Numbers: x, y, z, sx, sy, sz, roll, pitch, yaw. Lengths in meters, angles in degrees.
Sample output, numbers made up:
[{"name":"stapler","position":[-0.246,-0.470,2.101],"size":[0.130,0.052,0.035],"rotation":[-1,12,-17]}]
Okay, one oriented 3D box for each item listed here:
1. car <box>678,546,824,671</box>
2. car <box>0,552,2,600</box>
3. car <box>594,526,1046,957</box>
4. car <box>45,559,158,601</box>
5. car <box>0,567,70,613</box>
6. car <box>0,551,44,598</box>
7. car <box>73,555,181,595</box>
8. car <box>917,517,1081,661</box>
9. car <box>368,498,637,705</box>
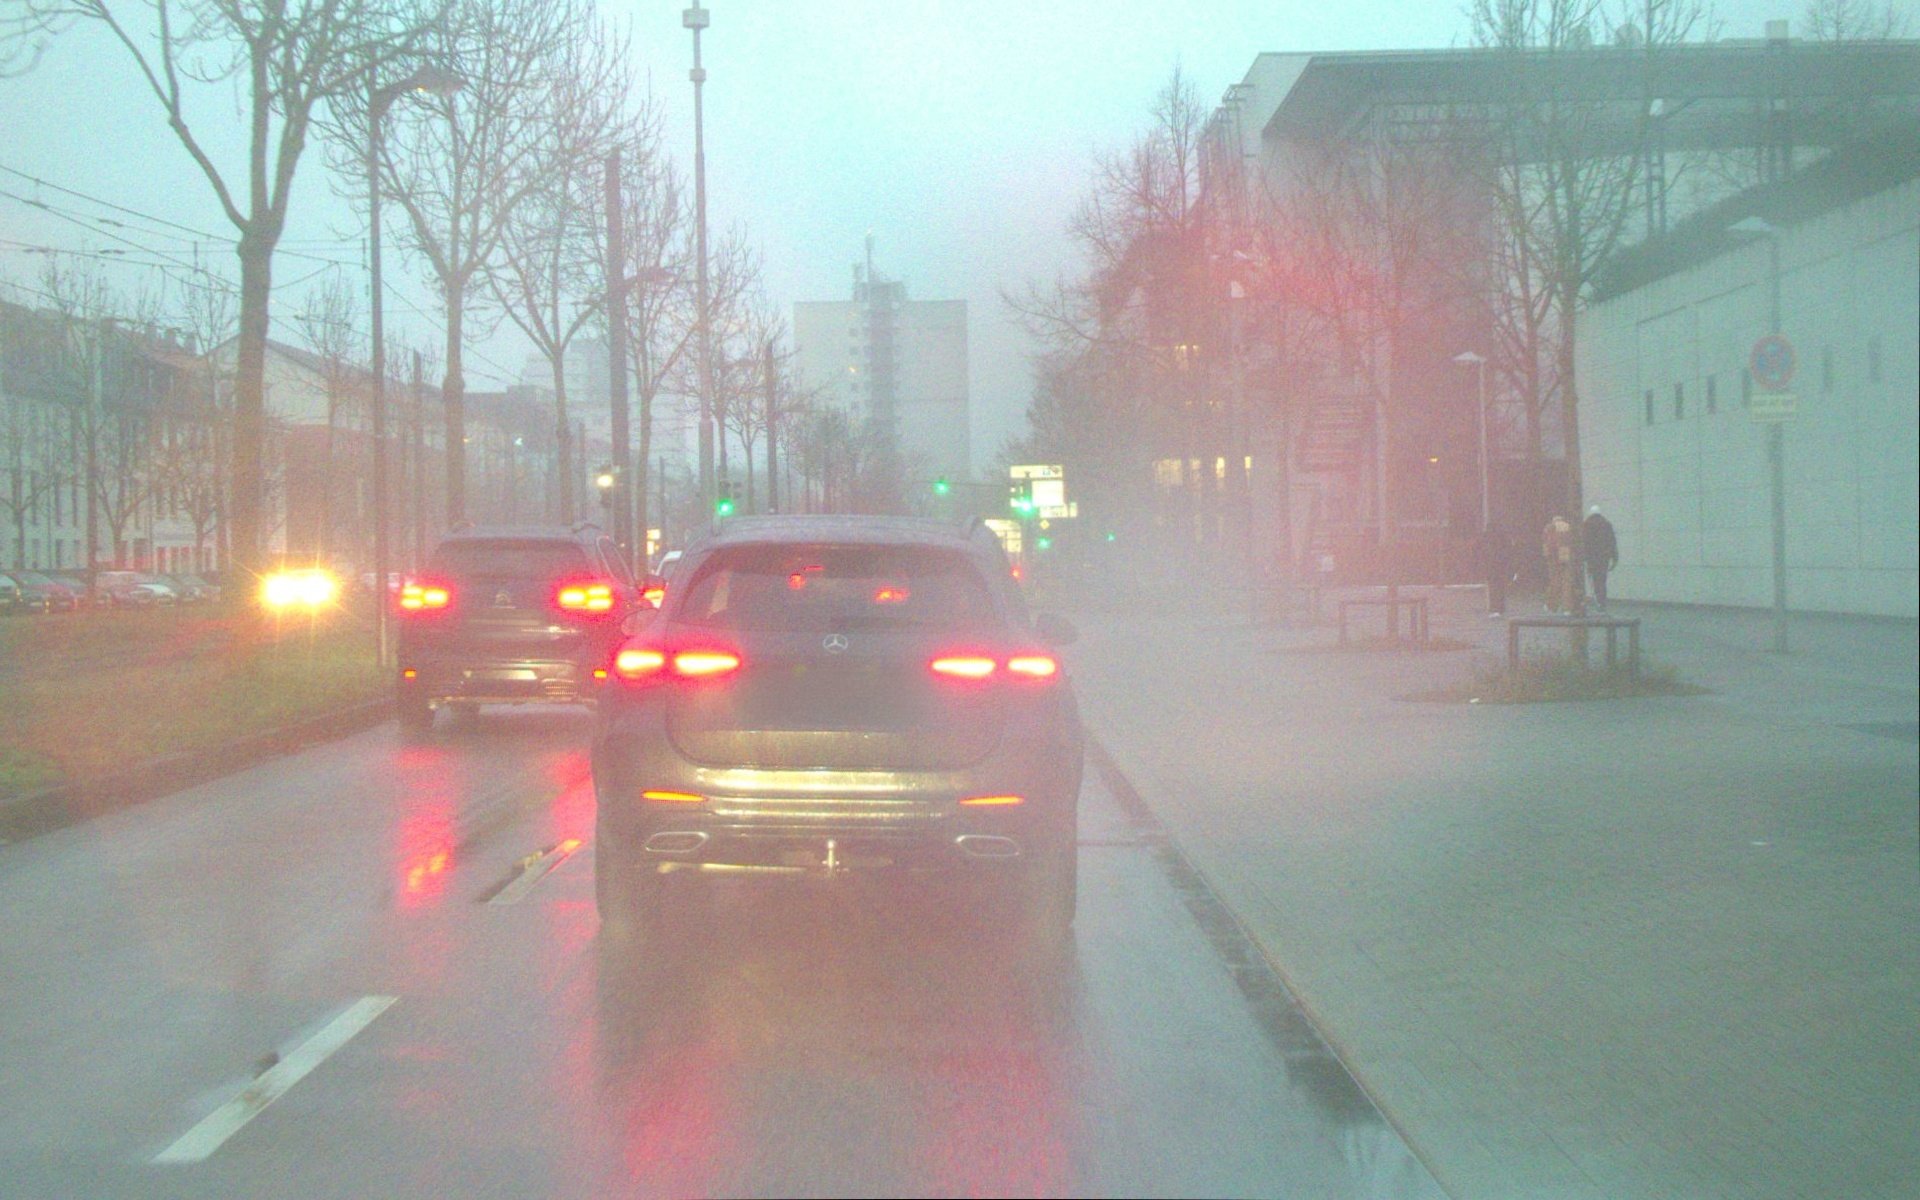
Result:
[{"name":"car","position":[-2.749,0.084,45.942],"size":[1.672,1.594,4.053],"rotation":[0,1,0]},{"name":"car","position":[-29.003,-0.633,97.204],"size":[3.552,1.349,1.778],"rotation":[0,1,34]},{"name":"car","position":[-0.508,0.499,14.781],"size":[1.672,1.594,4.053],"rotation":[0,1,0]},{"name":"car","position":[-29.141,-0.678,116.643],"size":[3.552,1.349,1.778],"rotation":[0,1,34]},{"name":"car","position":[-28.884,-0.294,104.116],"size":[3.552,1.349,1.778],"rotation":[0,1,34]},{"name":"car","position":[-28.948,-0.736,101.563],"size":[3.552,1.349,1.731],"rotation":[0,1,34]},{"name":"car","position":[-29.837,-0.882,123.123],"size":[3.552,1.349,1.778],"rotation":[0,1,34]},{"name":"car","position":[0.494,-0.163,44.254],"size":[1.993,1.738,4.000],"rotation":[-1,1,0]},{"name":"car","position":[-3.726,-0.012,28.584],"size":[1.672,1.594,4.053],"rotation":[0,1,0]}]
